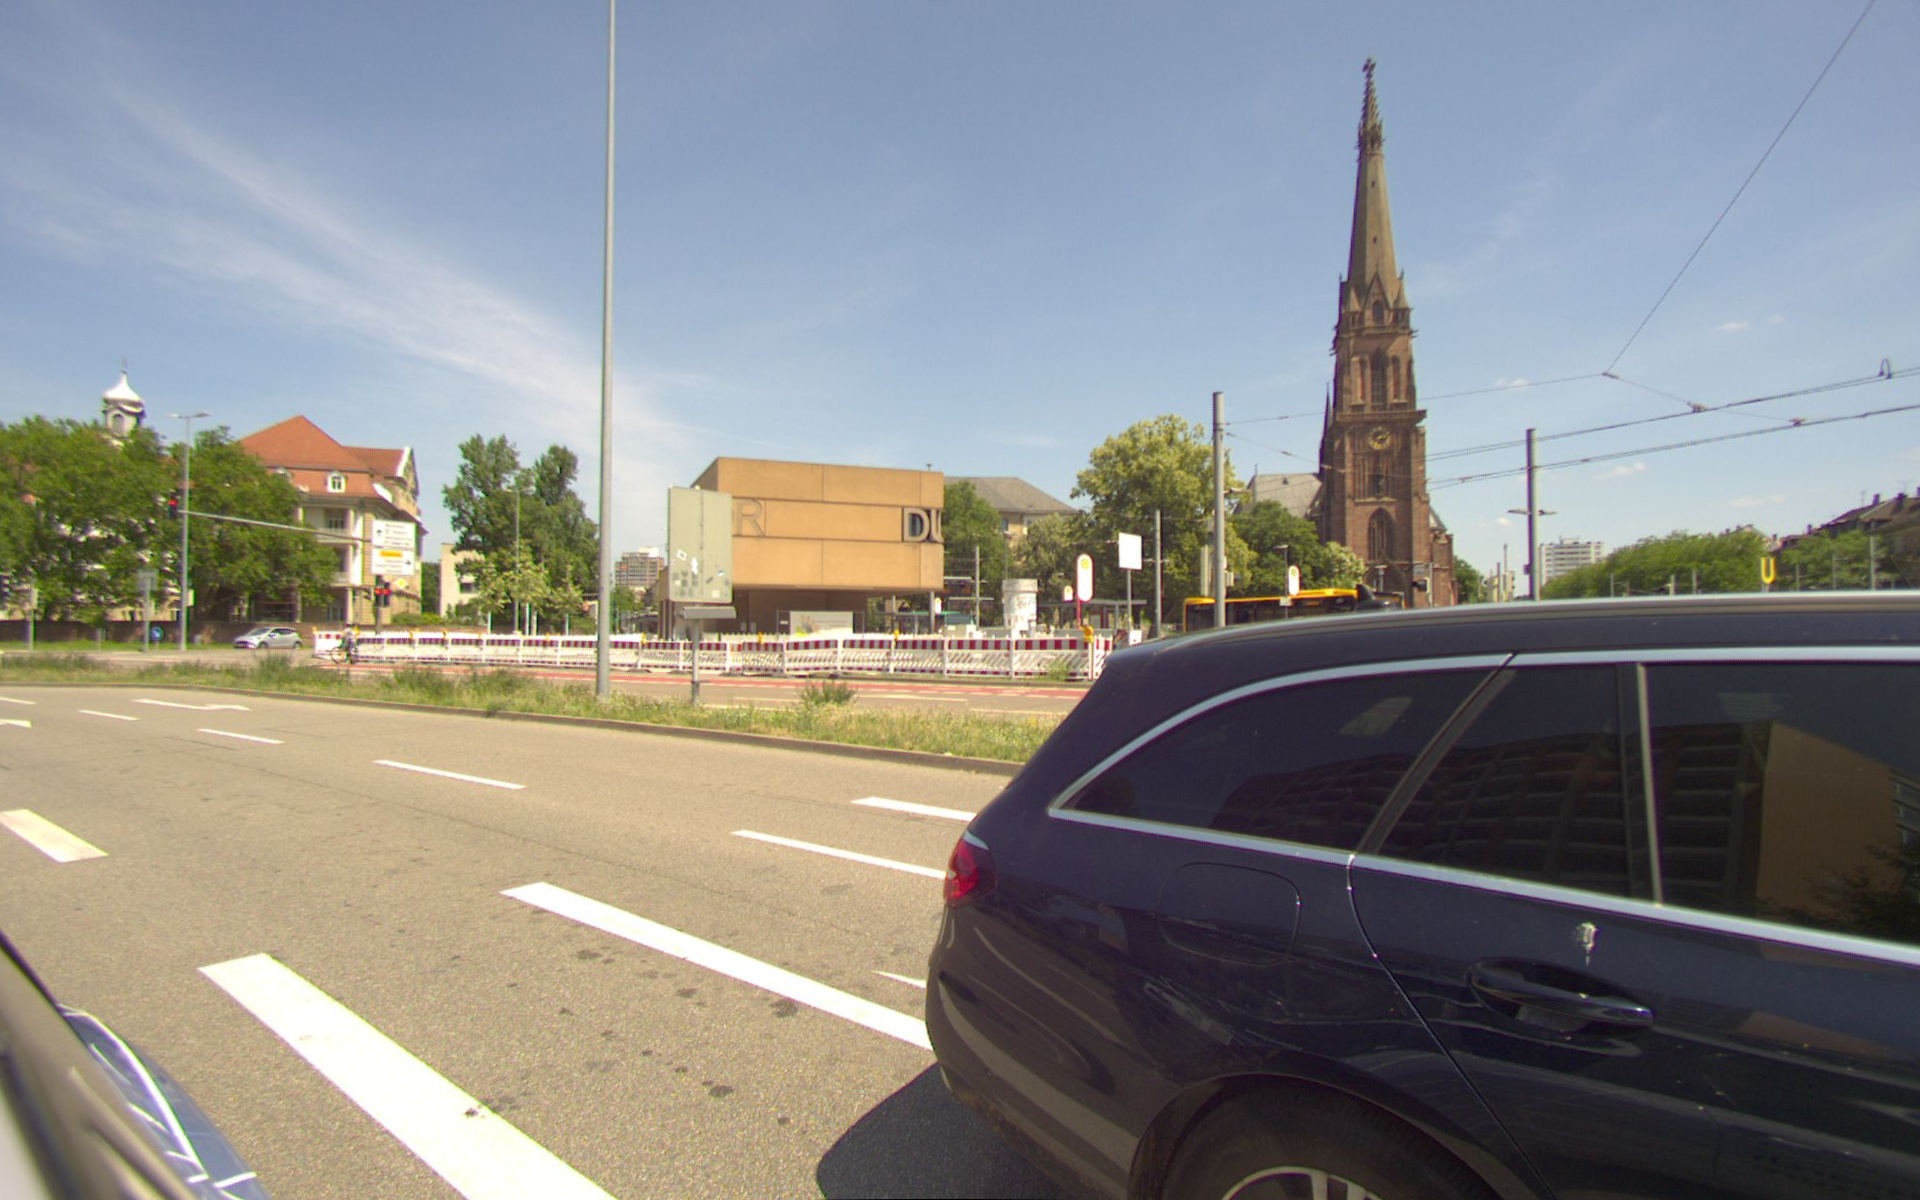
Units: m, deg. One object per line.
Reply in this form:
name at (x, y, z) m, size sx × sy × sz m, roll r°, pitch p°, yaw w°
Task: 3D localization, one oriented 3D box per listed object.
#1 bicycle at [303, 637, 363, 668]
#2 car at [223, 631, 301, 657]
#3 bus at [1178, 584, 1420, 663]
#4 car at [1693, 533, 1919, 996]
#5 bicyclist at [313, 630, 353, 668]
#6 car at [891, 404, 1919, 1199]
bicycle at (-23.389, 1.958, 37.738) m, size 2.220 × 1.080 × 0.871 m, roll -1°, pitch 0°, yaw 26°
car at (-41.450, 2.619, 60.215) m, size 1.772 × 1.475 × 3.627 m, roll -1°, pitch -2°, yaw 10°
bus at (14.373, 1.120, 44.786) m, size 2.807 × 3.039 × 12.259 m, roll 1°, pitch -2°, yaw -22°
car at (4.799, 0.550, 3.292) m, size 3.736 × 1.588 × 1.725 m, roll -2°, pitch -3°, yaw 42°
bicyclist at (-23.408, 1.813, 37.788) m, size 1.432 × 1.366 × 0.582 m, roll -1°, pitch 0°, yaw 26°
car at (2.220, 0.614, 1.213) m, size 4.803 × 1.653 × 1.778 m, roll -2°, pitch -3°, yaw 42°
